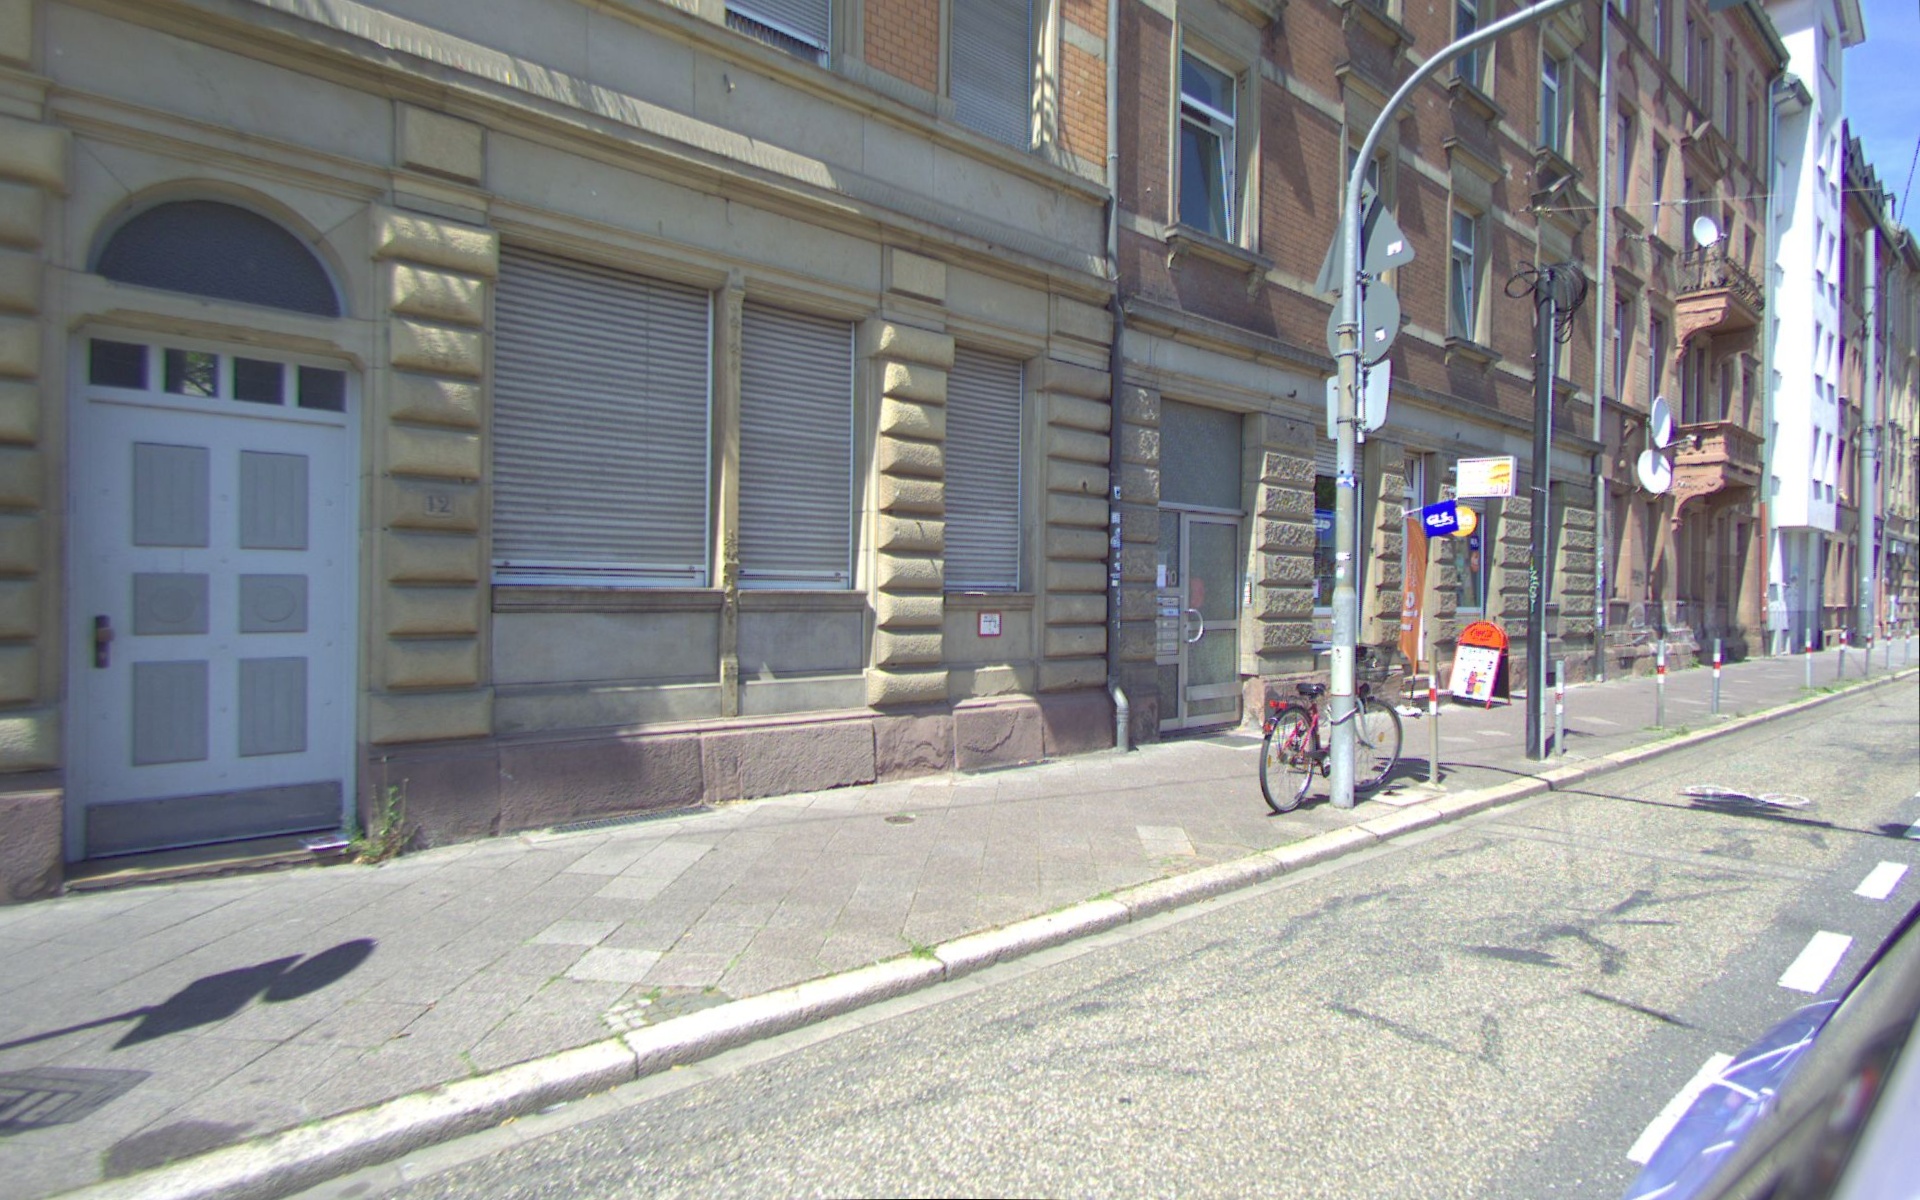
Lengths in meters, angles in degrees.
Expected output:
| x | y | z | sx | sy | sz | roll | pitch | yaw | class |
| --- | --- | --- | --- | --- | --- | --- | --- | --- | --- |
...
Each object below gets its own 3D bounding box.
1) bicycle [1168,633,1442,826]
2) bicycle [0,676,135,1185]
| x | y | z | sx | sy | sz | roll | pitch | yaw | class |
| --- | --- | --- | --- | --- | --- | --- | --- | --- | --- |
| 2.446 | 0.811 | 6.982 | 2.376 | 1.111 | 0.449 | 0 | 1 | -35 | bicycle |
| -3.365 | 0.774 | 2.398 | 2.196 | 1.145 | 0.501 | 1 | 1 | -11 | bicycle |
